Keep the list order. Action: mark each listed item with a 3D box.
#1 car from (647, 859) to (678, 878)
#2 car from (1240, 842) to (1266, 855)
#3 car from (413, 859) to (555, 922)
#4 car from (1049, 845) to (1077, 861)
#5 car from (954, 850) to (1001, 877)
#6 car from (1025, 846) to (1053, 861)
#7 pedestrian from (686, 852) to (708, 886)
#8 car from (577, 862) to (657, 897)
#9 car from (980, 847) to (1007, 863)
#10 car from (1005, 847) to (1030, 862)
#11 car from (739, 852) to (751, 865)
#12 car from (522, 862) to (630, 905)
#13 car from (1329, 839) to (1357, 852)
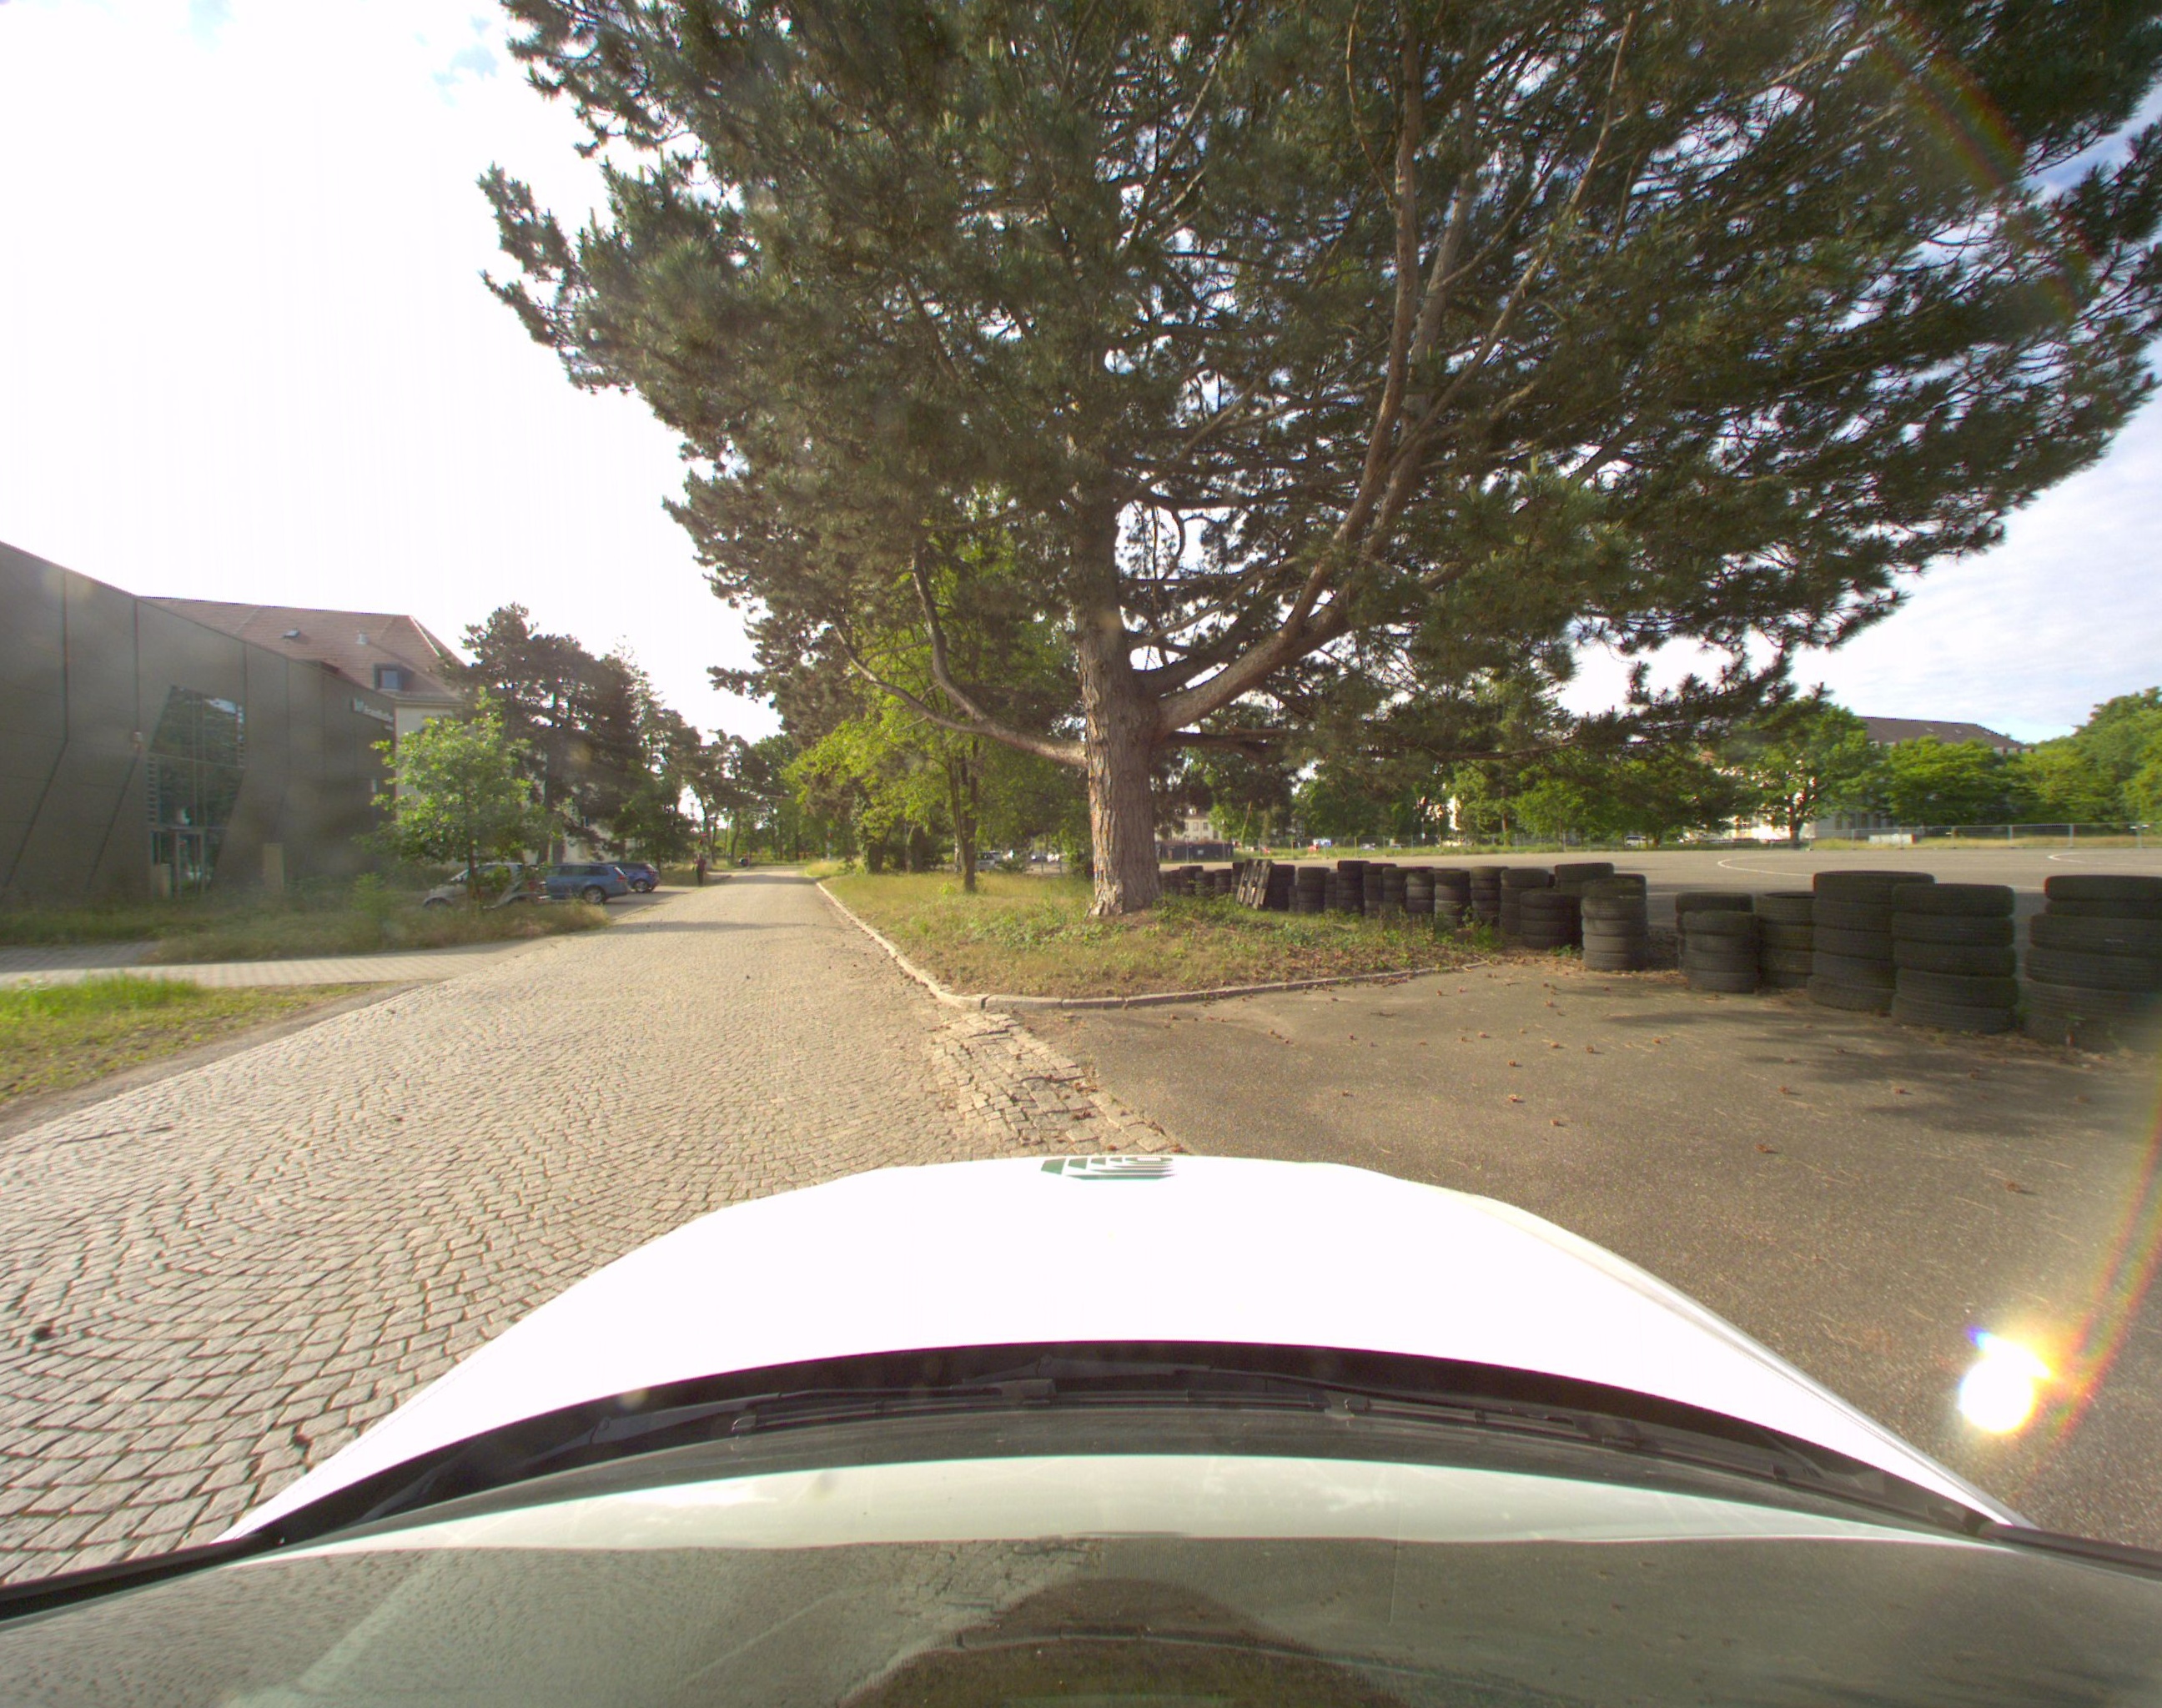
[{"bbox_3d":[-37.683,1.304,73.418,2.000,1.618,3.973,-2,0,-20],"label":"car"},{"bbox_3d":[23.753,-0.732,112.535,1.997,1.750,3.980,-1,0,-15],"label":"car"},{"bbox_3d":[-16.241,0.960,22.290,2.766,1.549,1.417,-1,0,-17],"label":"car"},{"bbox_3d":[-2.010,-0.106,91.327,2.000,1.618,3.973,-2,0,-20],"label":"car"},{"bbox_3d":[-6.298,0.543,49.093,1.893,1.541,3.971,-1,0,-22],"label":"car"},{"bbox_3d":[-4.665,-0.028,90.010,2.000,1.618,3.973,-2,0,-20],"label":"car"},{"bbox_3d":[-21.597,0.828,45.801,0.963,1.844,0.945,-1,0,-34],"label":"pedestrian"},{"bbox_3d":[-21.554,1.153,37.961,3.100,1.450,1.479,-2,0,-26],"label":"car"},{"bbox_3d":[-9.396,0.129,87.662,2.000,1.618,3.973,-2,0,-20],"label":"car"},{"bbox_3d":[-6.948,0.069,88.851,1.826,1.618,3.976,-2,0,-18],"label":"car"},{"bbox_3d":[-56.743,0.730,137.486,1.703,2.013,3.973,-1,0,-20],"label":"car"},{"bbox_3d":[-18.106,1.038,29.356,3.098,1.457,1.480,1,-1,-25],"label":"car"},{"bbox_3d":[37.844,-1.201,117.730,1.995,1.750,3.983,-1,0,-13],"label":"car"}]
